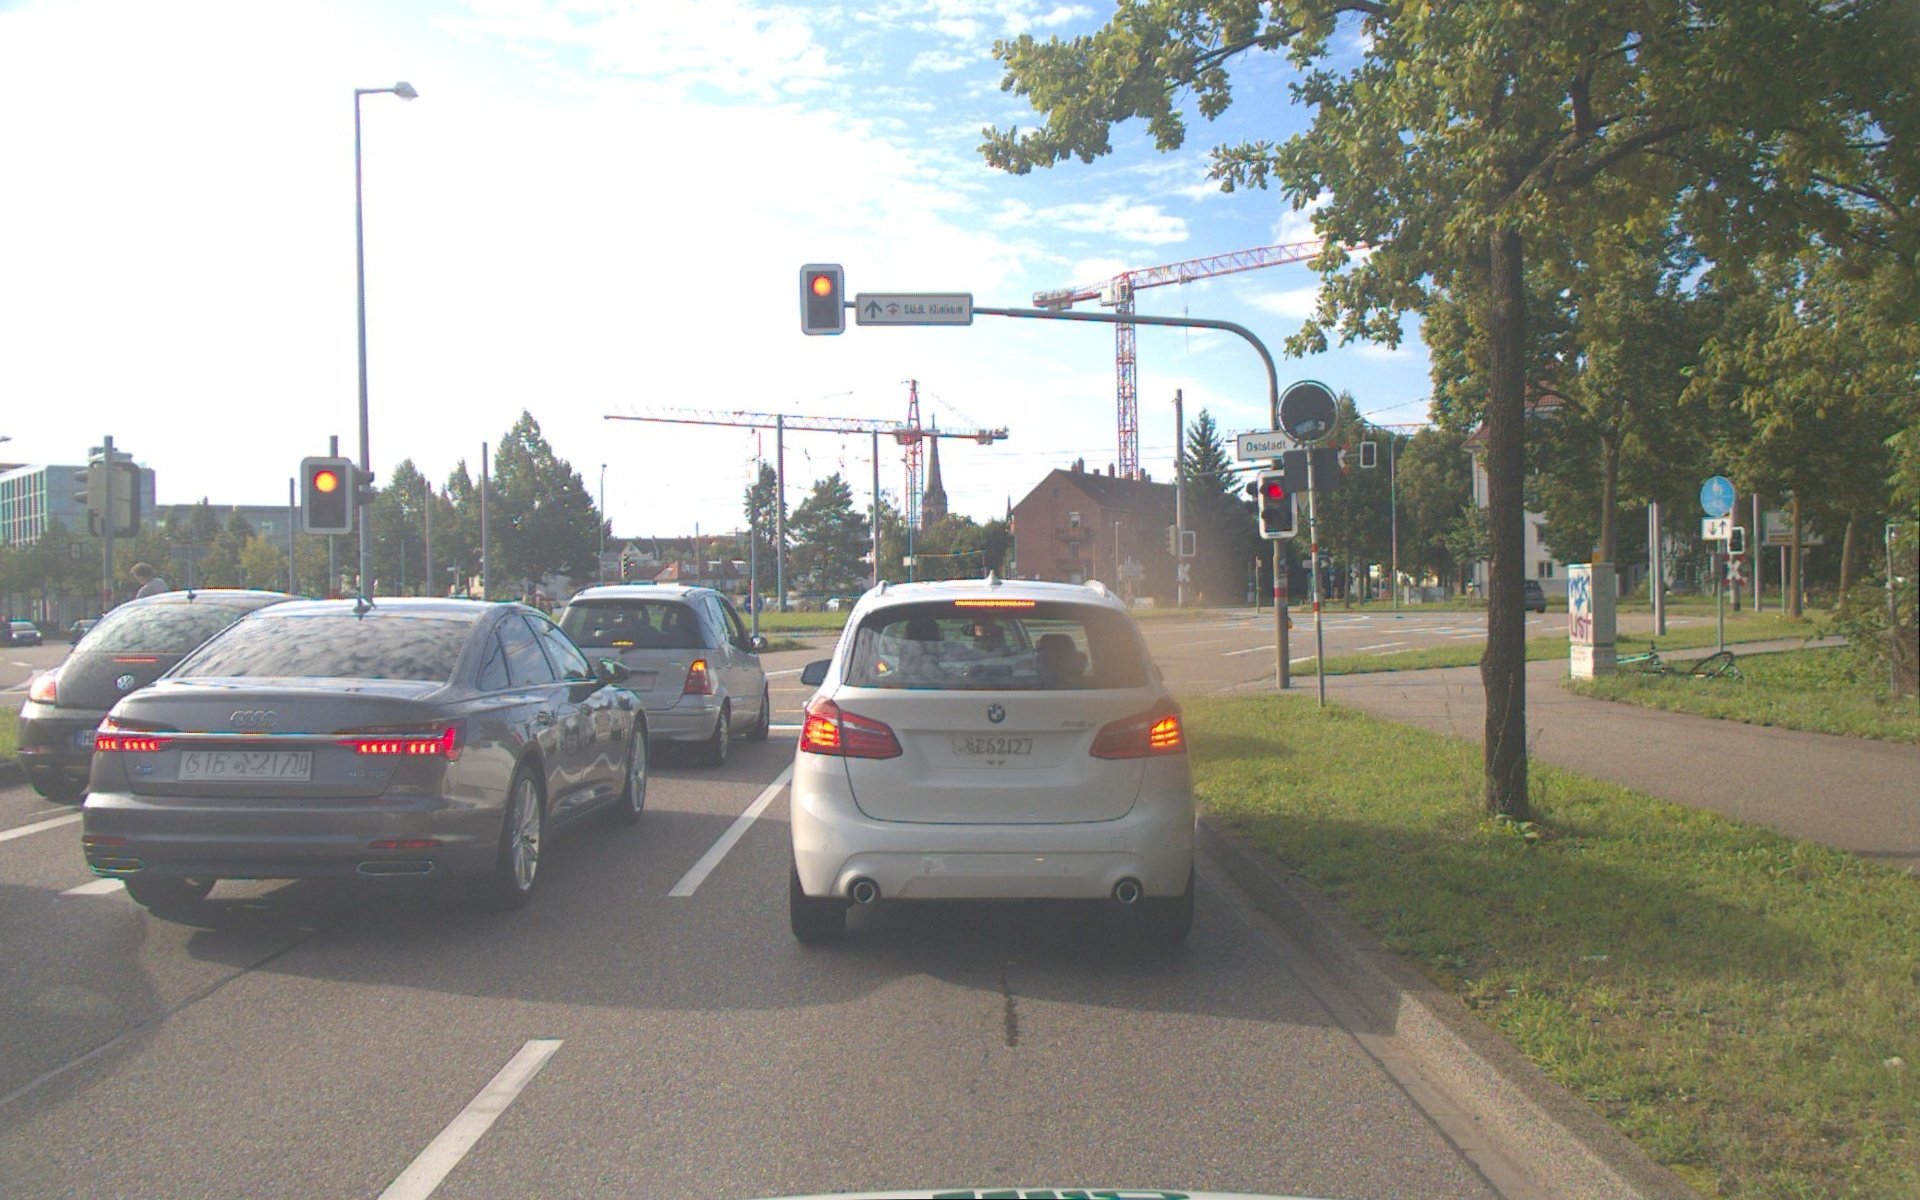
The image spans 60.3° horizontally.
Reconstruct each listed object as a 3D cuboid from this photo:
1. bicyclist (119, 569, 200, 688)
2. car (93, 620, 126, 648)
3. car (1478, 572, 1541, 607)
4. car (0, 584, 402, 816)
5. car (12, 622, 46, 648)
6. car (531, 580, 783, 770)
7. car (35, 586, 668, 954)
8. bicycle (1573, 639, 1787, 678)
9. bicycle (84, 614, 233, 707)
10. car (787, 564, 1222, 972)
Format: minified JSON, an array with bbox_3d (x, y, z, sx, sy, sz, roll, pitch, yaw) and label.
[{"bbox_3d":[-10.780,0.379,22.296,0.835,1.553,0.737,-1,0,-17],"label":"bicyclist"},{"bbox_3d":[-49.158,1.937,95.641,1.596,1.490,3.699,-1,1,-26],"label":"car"},{"bbox_3d":[25.389,-0.485,76.450,1.540,1.601,3.193,-1,1,-7],"label":"car"},{"bbox_3d":[-5.820,0.670,12.975,1.646,1.549,3.809,0,0,-1],"label":"car"},{"bbox_3d":[-54.593,2.049,97.053,1.574,1.440,3.636,-1,0,-28],"label":"car"},{"bbox_3d":[-2.760,0.626,15.913,1.694,1.585,4.057,0,0,-1],"label":"car"},{"bbox_3d":[-2.912,0.711,9.134,1.851,1.509,4.612,0,0,-1],"label":"car"},{"bbox_3d":[9.500,0.763,21.984,1.382,0.392,2.569,-1,0,-12],"label":"bicycle"},{"bbox_3d":[-10.780,0.796,22.293,1.698,1.184,0.653,-1,0,-17],"label":"bicycle"},{"bbox_3d":[0.143,0.648,8.479,1.694,1.585,4.057,0,0,-1],"label":"car"}]
